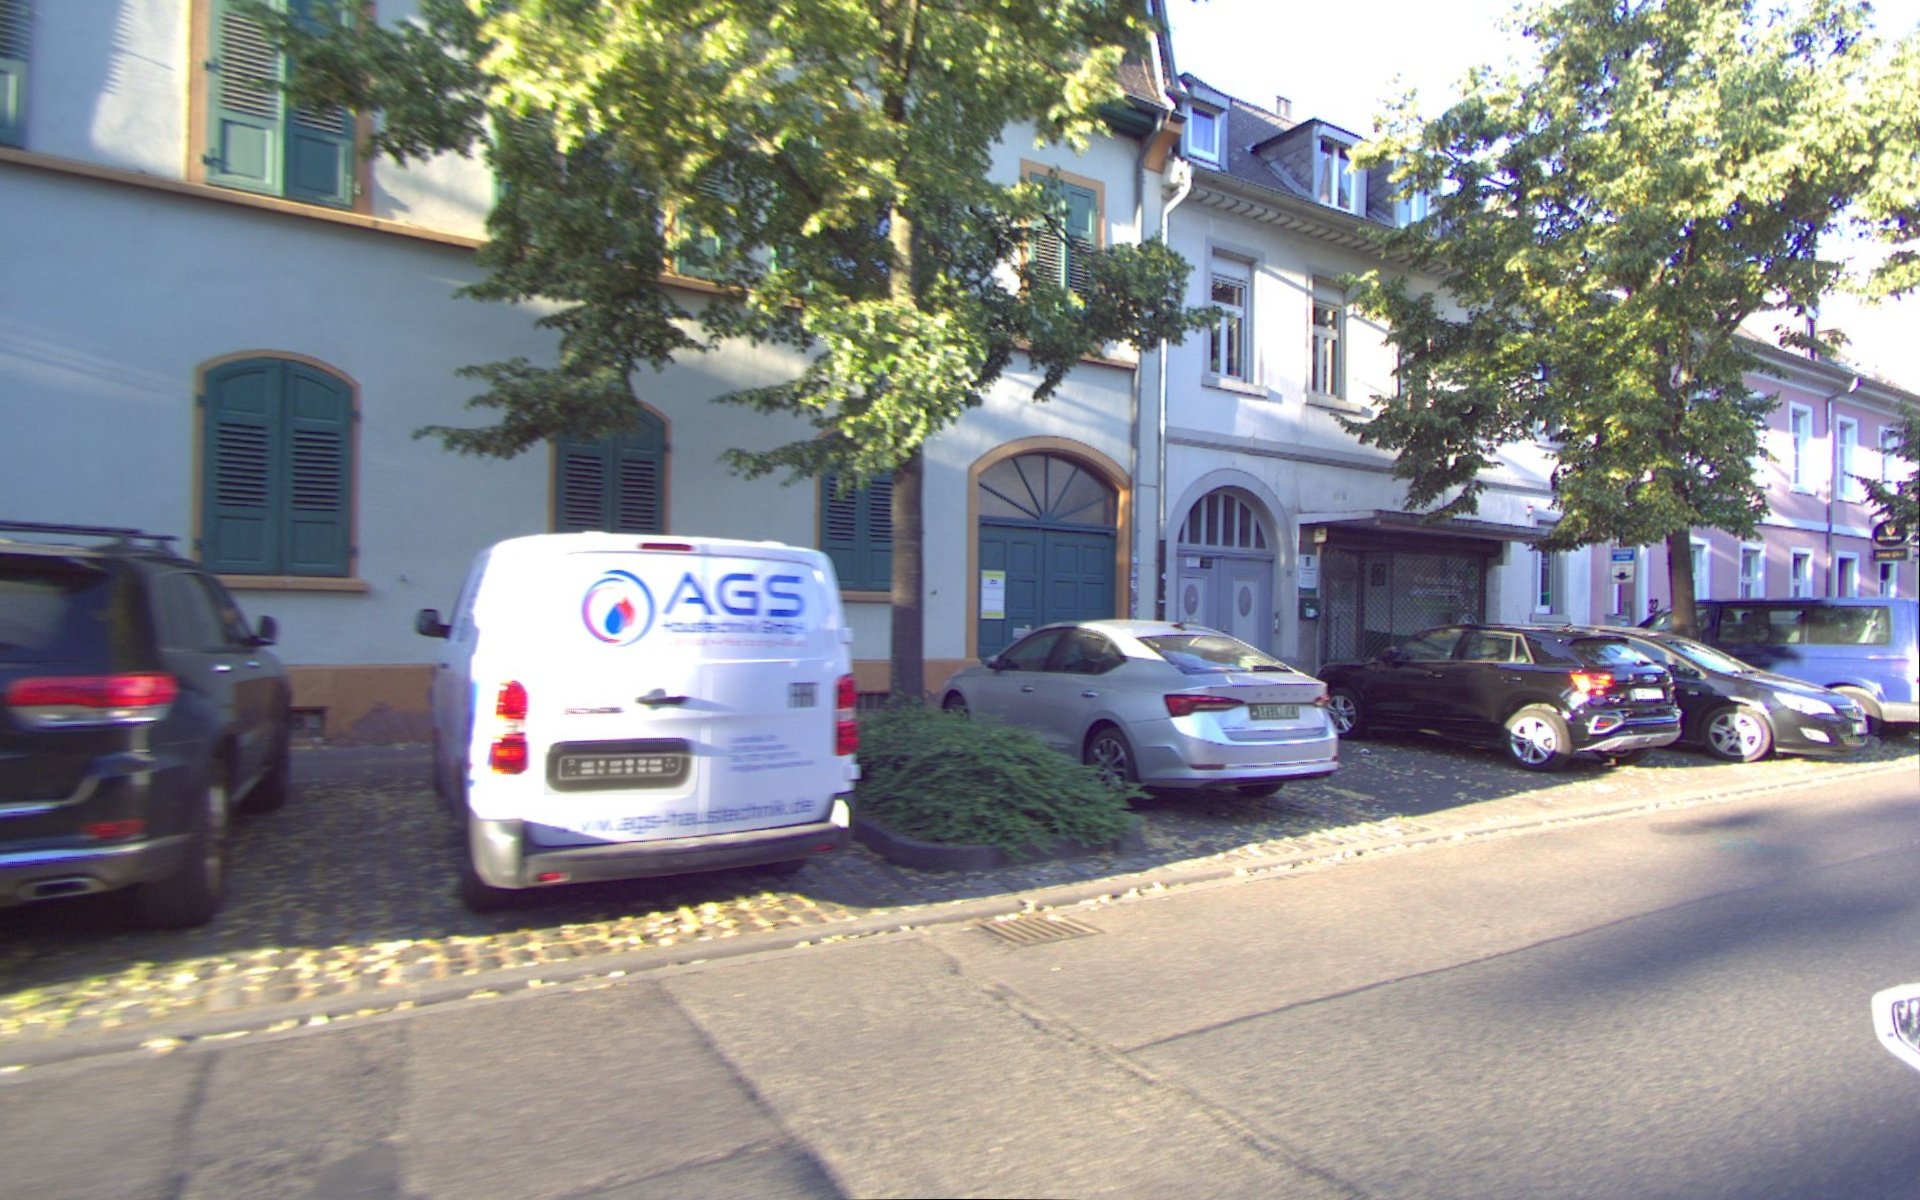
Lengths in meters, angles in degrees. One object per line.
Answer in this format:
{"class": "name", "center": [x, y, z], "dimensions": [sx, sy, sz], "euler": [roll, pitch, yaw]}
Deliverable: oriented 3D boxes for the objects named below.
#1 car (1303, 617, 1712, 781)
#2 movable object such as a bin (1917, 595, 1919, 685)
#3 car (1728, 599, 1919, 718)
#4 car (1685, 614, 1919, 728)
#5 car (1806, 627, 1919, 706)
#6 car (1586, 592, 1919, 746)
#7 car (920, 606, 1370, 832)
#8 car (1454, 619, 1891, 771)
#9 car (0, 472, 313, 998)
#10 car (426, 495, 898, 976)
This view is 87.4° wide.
{"class": "car", "center": [6.256, 1.011, 11.966], "dimensions": [1.881, 1.521, 3.908], "euler": [1, 0, -27]}
{"class": "movable object such as a bin", "center": [29.525, 1.144, 26.601], "dimensions": [5.638, 2.528, 2.315], "euler": [1, -1, 13]}
{"class": "car", "center": [16.876, 1.013, 18.065], "dimensions": [1.943, 2.002, 4.459], "euler": [1, 0, -31]}
{"class": "car", "center": [14.786, 1.115, 16.630], "dimensions": [1.838, 1.658, 4.111], "euler": [1, 0, -29]}
{"class": "car", "center": [19.682, 1.330, 19.543], "dimensions": [1.868, 1.489, 4.577], "euler": [1, 0, -27]}
{"class": "car", "center": [12.465, 0.919, 15.389], "dimensions": [2.043, 2.002, 4.464], "euler": [1, -1, -29]}
{"class": "car", "center": [1.358, 0.846, 9.272], "dimensions": [1.712, 1.505, 4.460], "euler": [1, 0, -27]}
{"class": "car", "center": [9.030, 1.076, 13.116], "dimensions": [1.823, 1.521, 4.298], "euler": [1, 0, -35]}
{"class": "car", "center": [-4.785, 0.503, 5.397], "dimensions": [1.871, 1.895, 4.409], "euler": [1, -1, -29]}
{"class": "car", "center": [-2.351, 0.586, 6.652], "dimensions": [1.950, 1.933, 4.848], "euler": [1, -1, -30]}
